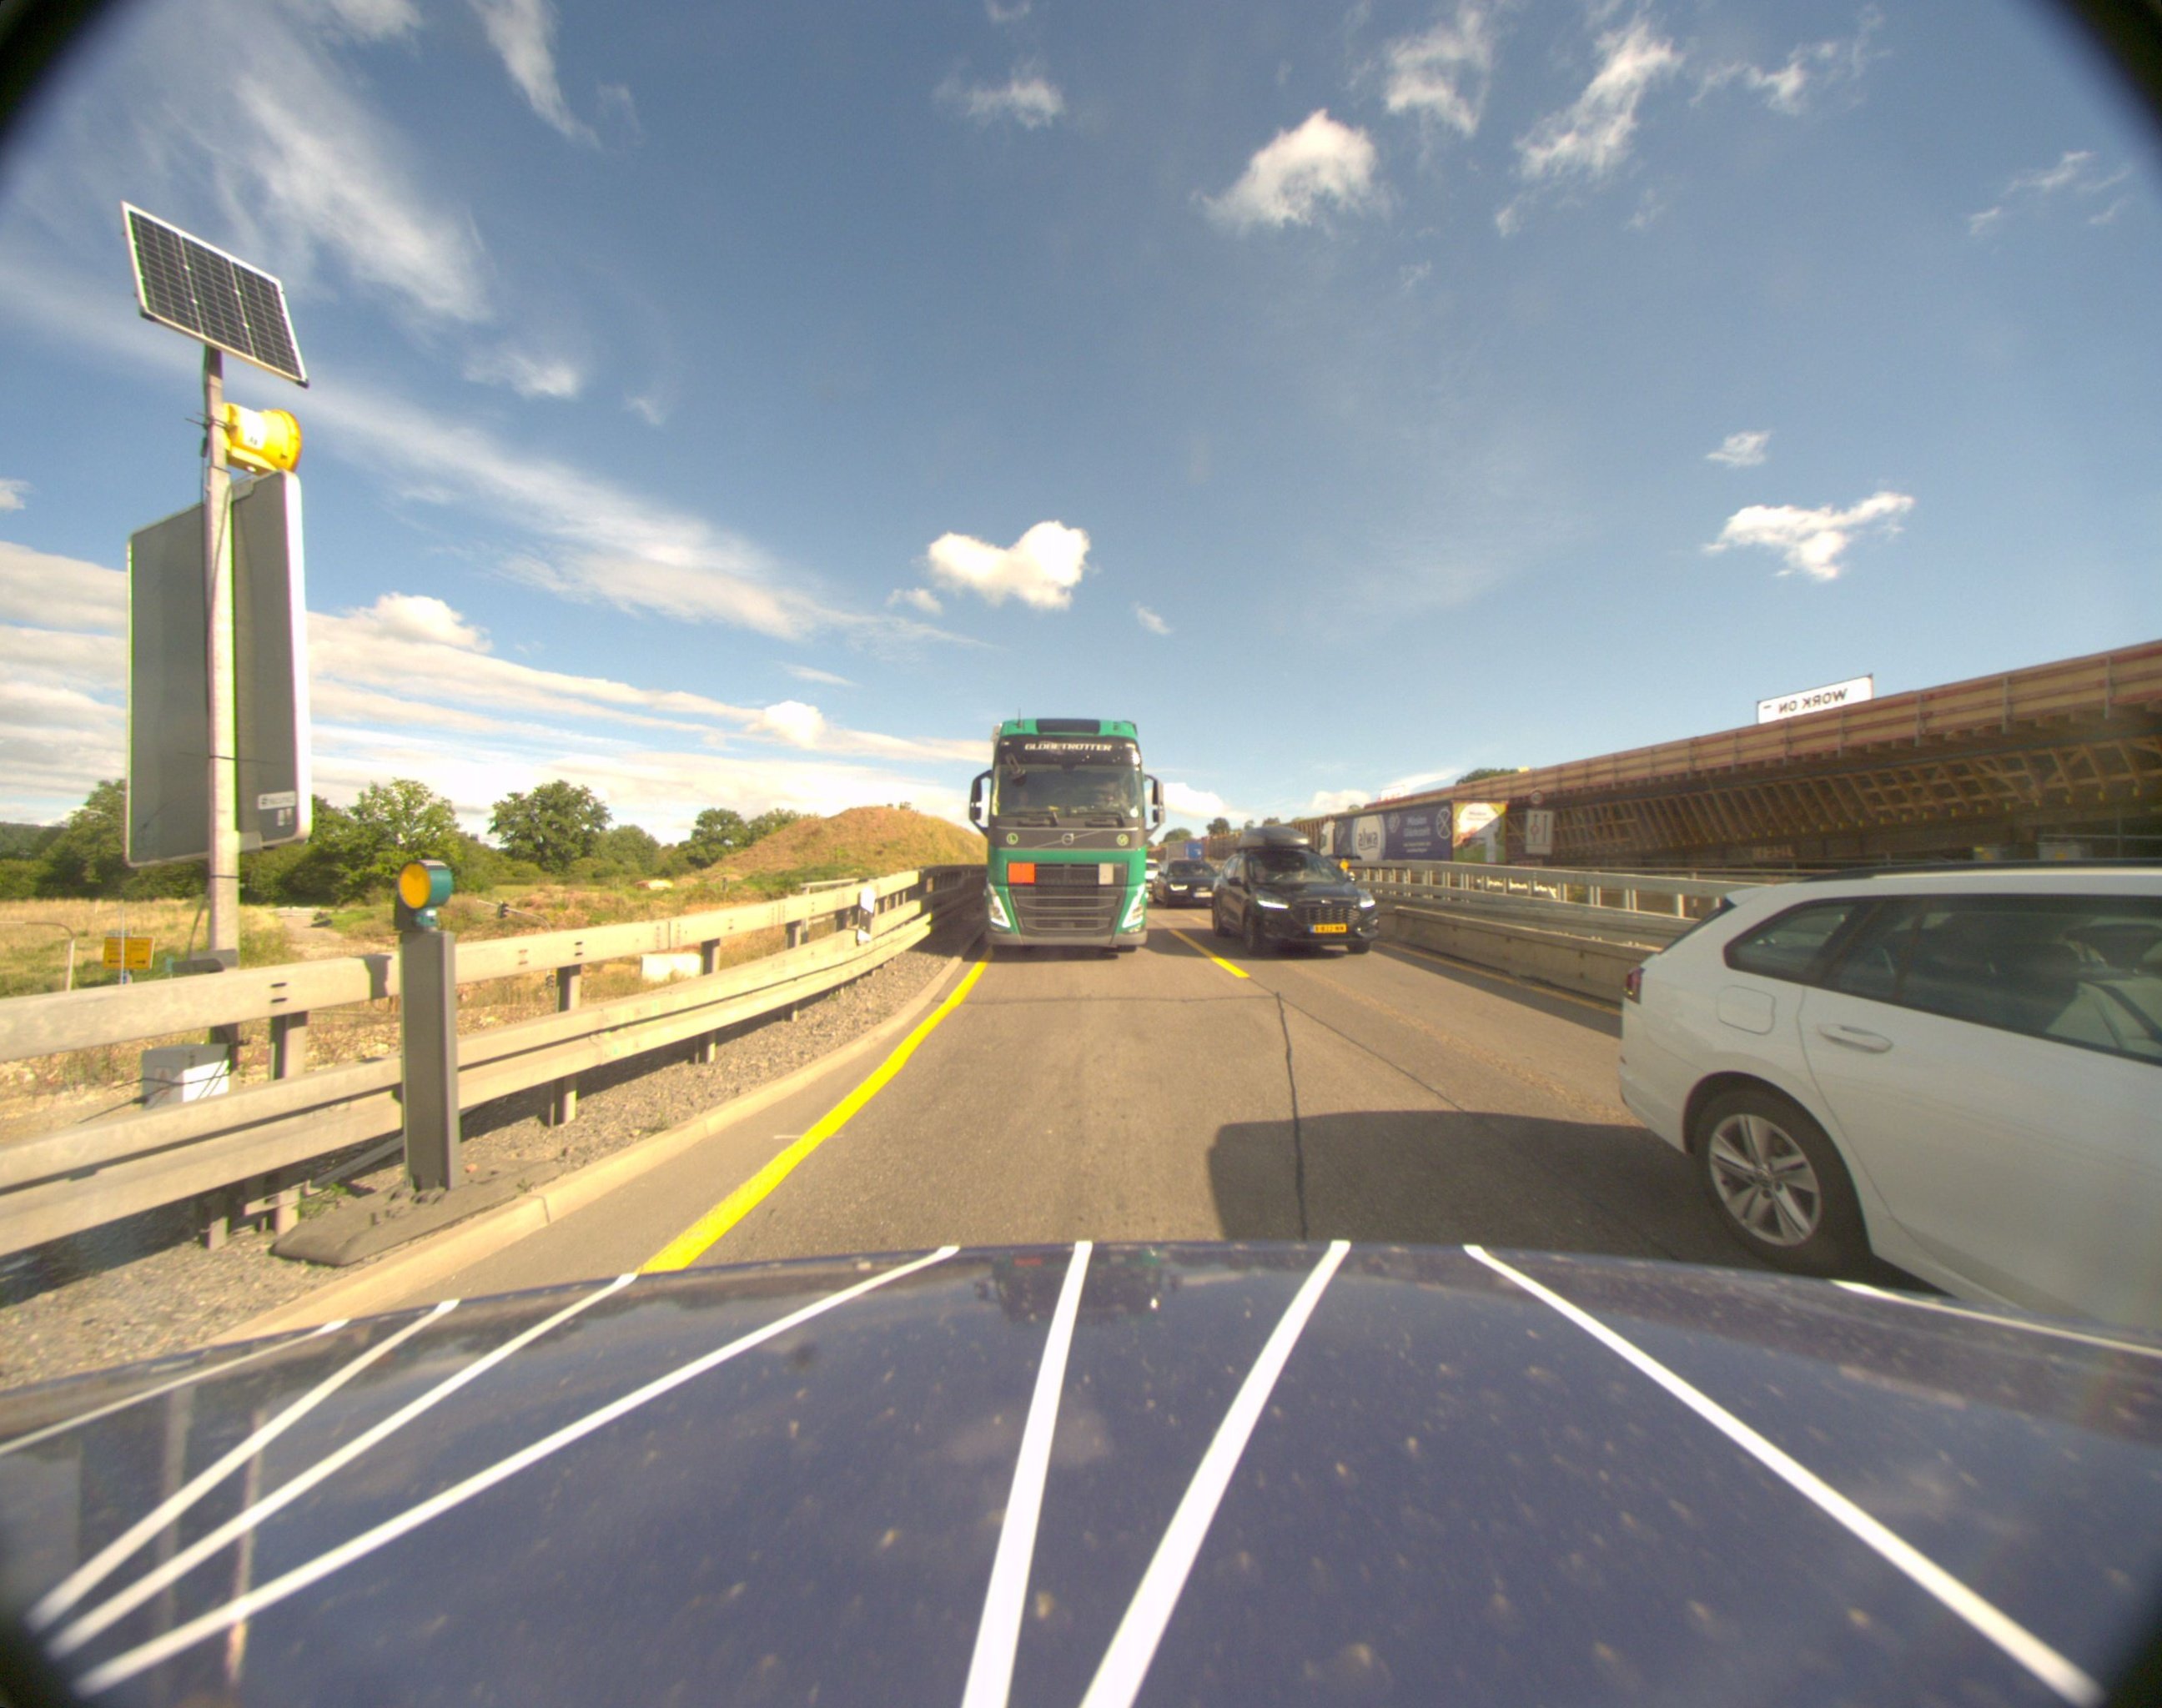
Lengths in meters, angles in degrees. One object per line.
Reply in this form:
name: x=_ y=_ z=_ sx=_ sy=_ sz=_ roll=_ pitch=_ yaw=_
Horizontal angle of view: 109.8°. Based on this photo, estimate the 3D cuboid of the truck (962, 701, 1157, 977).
truck: x=-0.462 y=-0.272 z=15.851 sx=2.664 sy=3.825 sz=10.314 roll=-1 pitch=1 yaw=-2

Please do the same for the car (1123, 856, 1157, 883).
car: x=3.632 y=0.946 z=47.563 sx=1.659 sy=1.510 sz=3.999 roll=-1 pitch=1 yaw=-2

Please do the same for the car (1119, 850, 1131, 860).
car: x=11.957 y=0.245 z=206.390 sx=2.573 sy=2.329 sz=6.403 roll=-1 pitch=1 yaw=-2

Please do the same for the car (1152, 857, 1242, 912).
car: x=3.480 y=0.877 z=23.579 sx=1.949 sy=1.422 sz=4.503 roll=-1 pitch=1 yaw=-2

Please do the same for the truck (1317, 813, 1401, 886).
truck: x=16.818 y=-0.303 z=46.422 sx=2.719 sy=4.114 sz=5.968 roll=-1 pitch=1 yaw=-3

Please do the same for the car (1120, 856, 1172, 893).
car: x=2.835 y=0.872 z=34.072 sx=1.949 sy=1.422 sz=4.407 roll=-1 pitch=1 yaw=0

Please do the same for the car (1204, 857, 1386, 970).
car: x=3.364 y=0.846 z=12.878 sx=1.804 sy=1.533 sz=4.383 roll=0 pitch=1 yaw=-1

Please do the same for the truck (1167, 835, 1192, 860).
truck: x=14.456 y=-1.000 z=111.735 sx=2.850 sy=3.608 sz=4.808 roll=-1 pitch=1 yaw=-2

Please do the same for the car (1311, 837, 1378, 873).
car: x=13.861 y=0.030 z=40.244 sx=1.929 sy=1.757 sz=4.325 roll=-1 pitch=1 yaw=-2

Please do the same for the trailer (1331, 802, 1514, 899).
trailer: x=17.138 y=-0.230 z=39.945 sx=2.695 sy=4.132 sz=13.806 roll=-1 pitch=1 yaw=-3

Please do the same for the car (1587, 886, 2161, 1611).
car: x=3.251 y=0.924 z=1.291 sx=1.774 sy=1.482 sz=4.516 roll=0 pitch=1 yaw=0

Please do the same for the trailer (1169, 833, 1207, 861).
trailer: x=14.716 y=-0.957 z=105.381 sx=2.870 sy=3.645 sz=13.524 roll=-1 pitch=1 yaw=-2
